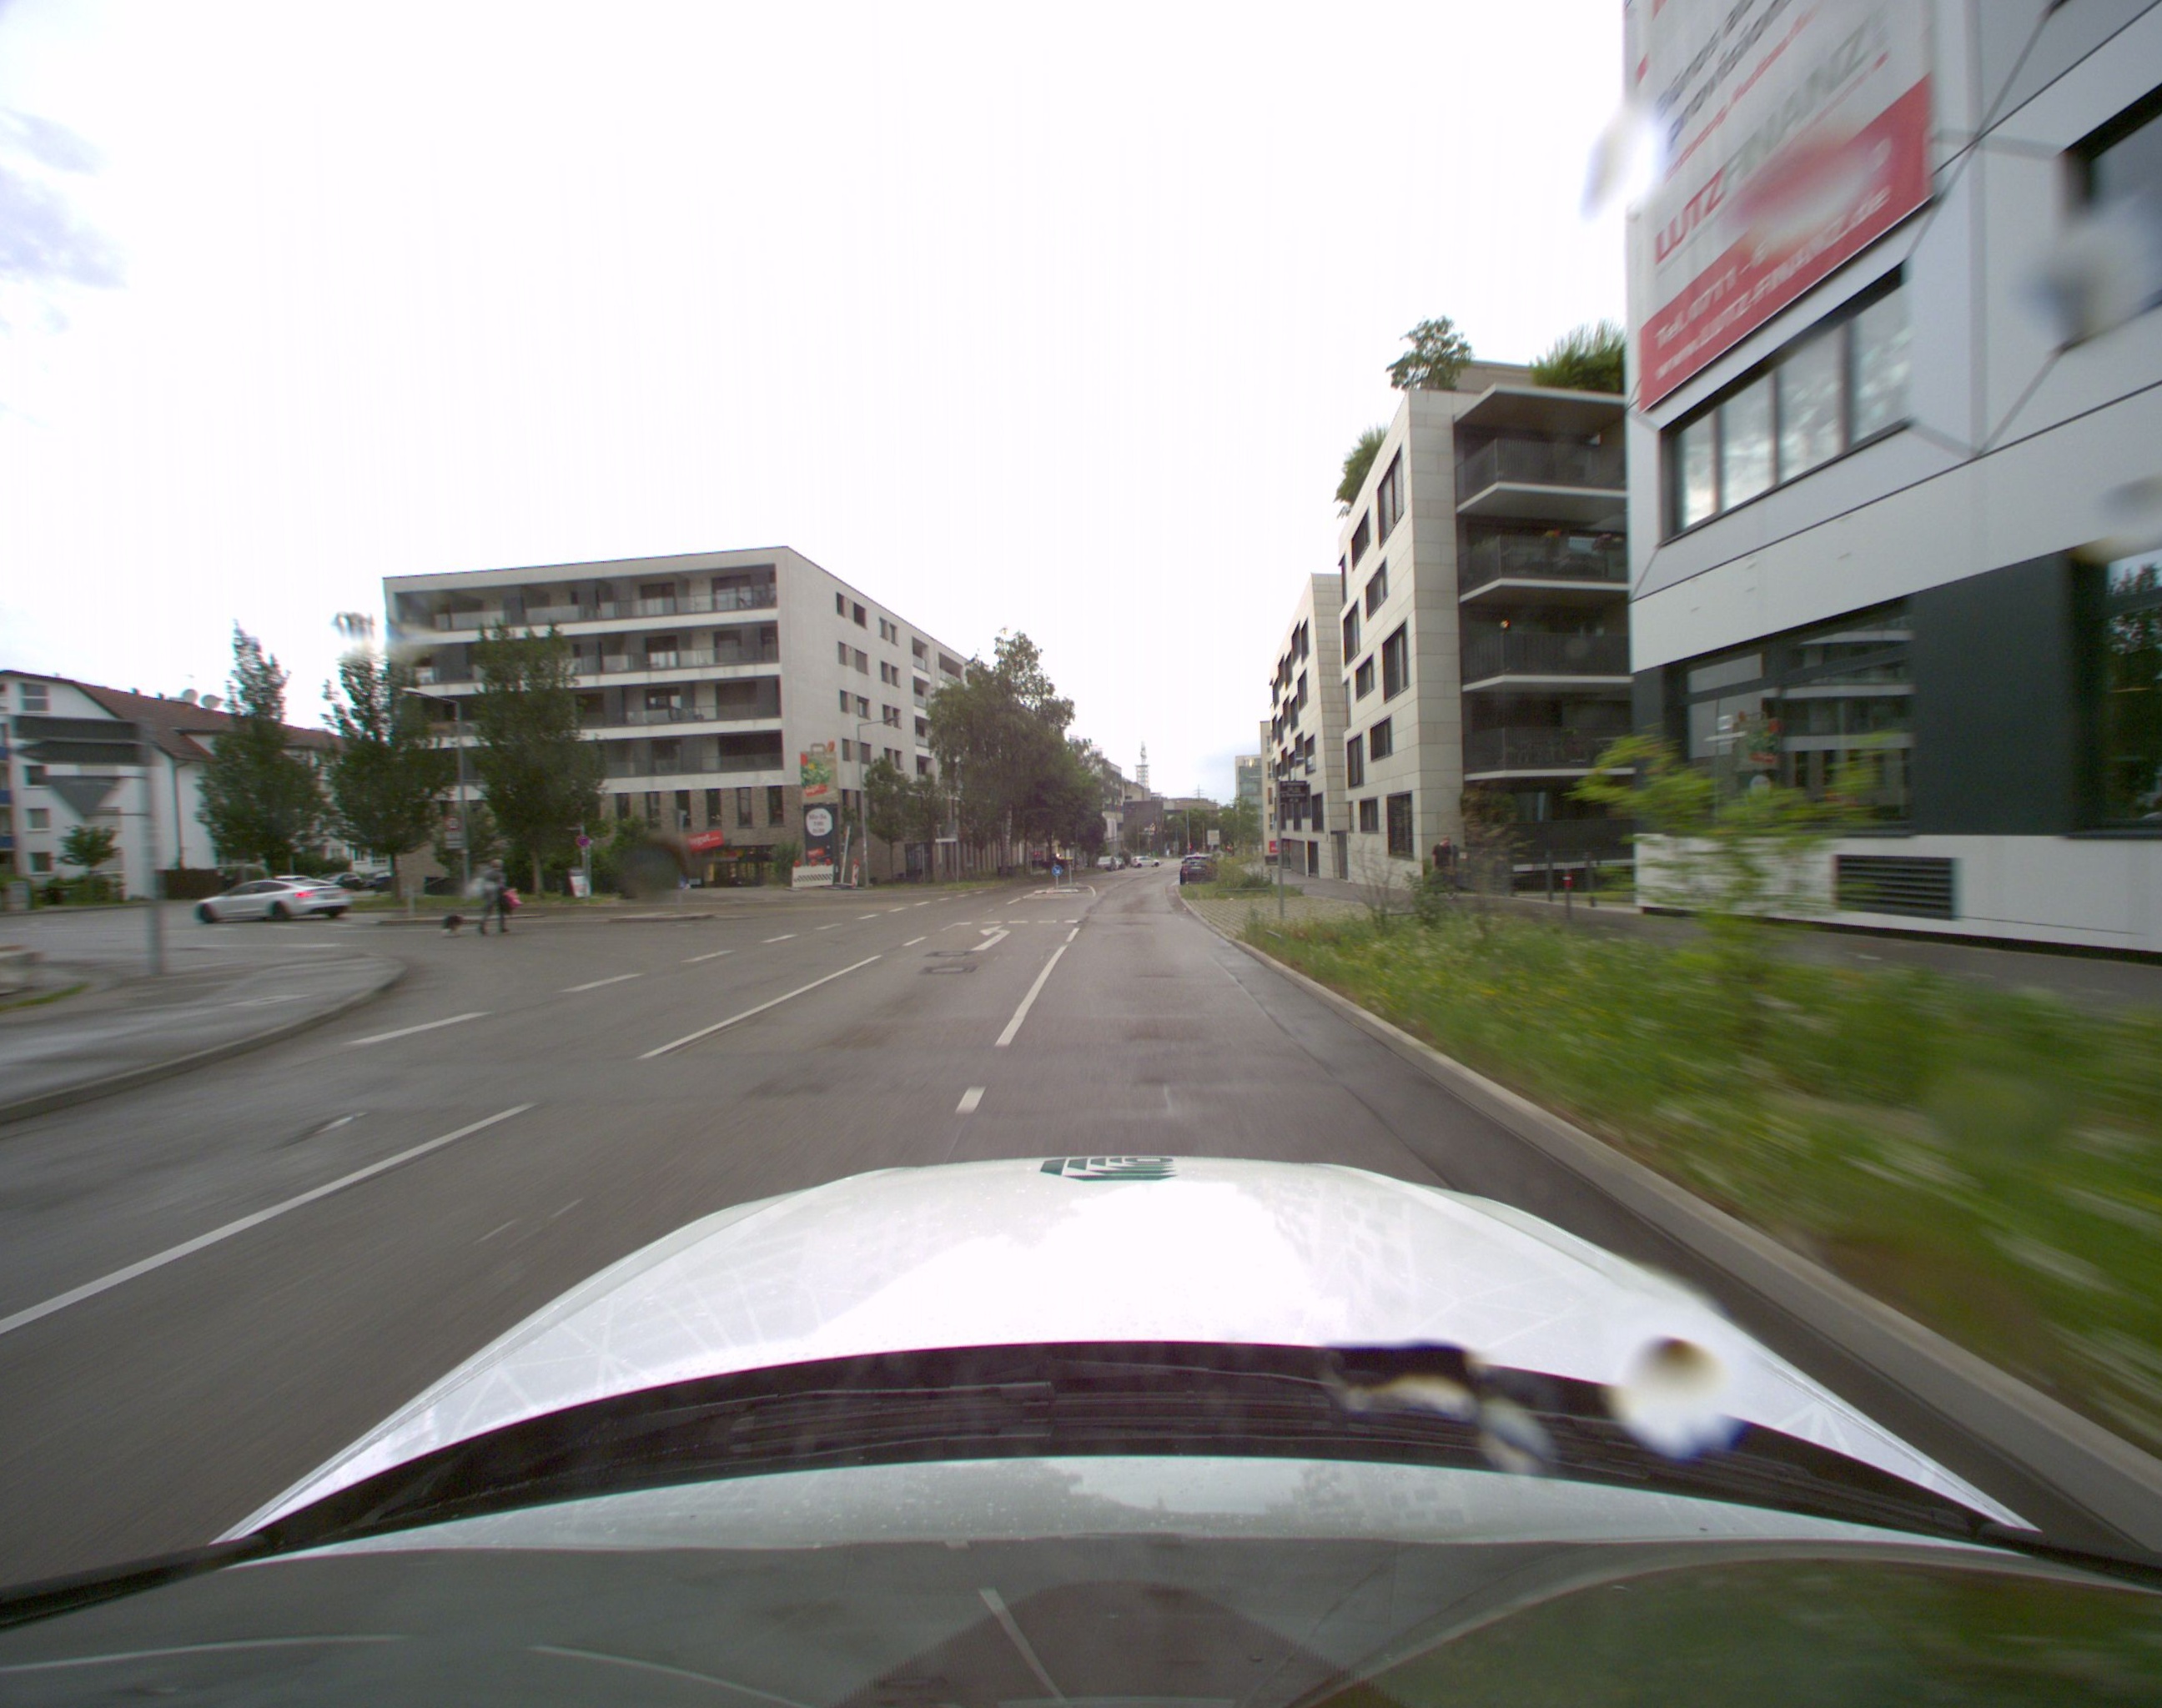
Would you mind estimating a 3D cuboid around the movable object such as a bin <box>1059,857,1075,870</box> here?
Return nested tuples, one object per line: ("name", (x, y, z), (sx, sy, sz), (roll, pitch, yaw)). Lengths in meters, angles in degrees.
("movable object such as a bin", (-1.774, 1.187, 105.025), (1.786, 1.510, 1.484), (-3, -1, 6))

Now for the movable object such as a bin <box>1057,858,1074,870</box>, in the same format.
("movable object such as a bin", (-1.971, 1.269, 103.466), (2.043, 1.423, 1.319), (-1, 0, 6))

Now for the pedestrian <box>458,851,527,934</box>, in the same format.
("pedestrian", (-14.862, 0.958, 20.603), (1.055, 2.014, 1.095), (-1, -1, -11))

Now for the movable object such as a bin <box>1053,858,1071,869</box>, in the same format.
("movable object such as a bin", (-2.403, 1.169, 102.167), (2.016, 1.430, 1.292), (0, 0, 6))

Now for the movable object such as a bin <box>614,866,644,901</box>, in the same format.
("movable object such as a bin", (-18.438, 1.196, 33.207), (0.712, 1.362, 0.823), (-2, 0, 3))

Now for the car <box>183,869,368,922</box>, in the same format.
("car", (-28.104, 1.441, 28.494), (4.778, 1.661, 2.069), (-2, -1, 8))

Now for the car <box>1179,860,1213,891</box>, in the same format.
("car", (6.121, 1.131, 43.160), (1.536, 1.478, 3.672), (-1, 0, 11))

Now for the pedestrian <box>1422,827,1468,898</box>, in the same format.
("pedestrian", (9.464, 0.217, 21.202), (0.819, 1.796, 0.779), (-2, -1, 4))

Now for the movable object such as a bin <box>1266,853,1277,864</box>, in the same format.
("movable object such as a bin", (23.045, 0.534, 98.452), (1.227, 1.320, 1.195), (-2, -1, 12))

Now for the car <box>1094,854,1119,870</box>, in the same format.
("car", (2.880, 0.836, 90.397), (2.065, 1.609, 4.697), (-3, 0, 9))

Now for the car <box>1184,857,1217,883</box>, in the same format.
("car", (7.148, 0.935, 48.392), (1.796, 1.484, 4.507), (-1, -1, 10))

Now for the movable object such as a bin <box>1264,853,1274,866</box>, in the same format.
("movable object such as a bin", (23.285, 0.701, 100.664), (1.165, 1.503, 1.017), (-2, -1, 13))

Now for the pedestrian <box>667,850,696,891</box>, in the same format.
("pedestrian", (-19.916, 0.820, 40.628), (0.879, 2.013, 1.118), (-1, 0, 1))

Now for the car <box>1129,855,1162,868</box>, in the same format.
("car", (8.531, 0.943, 108.220), (3.990, 1.577, 1.990), (-2, 0, -15))

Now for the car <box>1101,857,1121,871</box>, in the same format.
("car", (3.522, 1.135, 95.627), (1.762, 1.600, 4.043), (-2, 0, 10))

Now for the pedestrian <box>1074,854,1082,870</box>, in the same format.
("pedestrian", (-0.297, 0.907, 90.175), (0.705, 1.683, 0.958), (-2, 0, 6))

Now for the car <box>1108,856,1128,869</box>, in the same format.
("car", (4.541, 1.069, 100.265), (1.785, 1.516, 4.259), (-1, -1, 12))

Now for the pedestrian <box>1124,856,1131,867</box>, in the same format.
("pedestrian", (6.937, 1.130, 122.088), (0.730, 1.708, 0.898), (-2, -2, -17))
